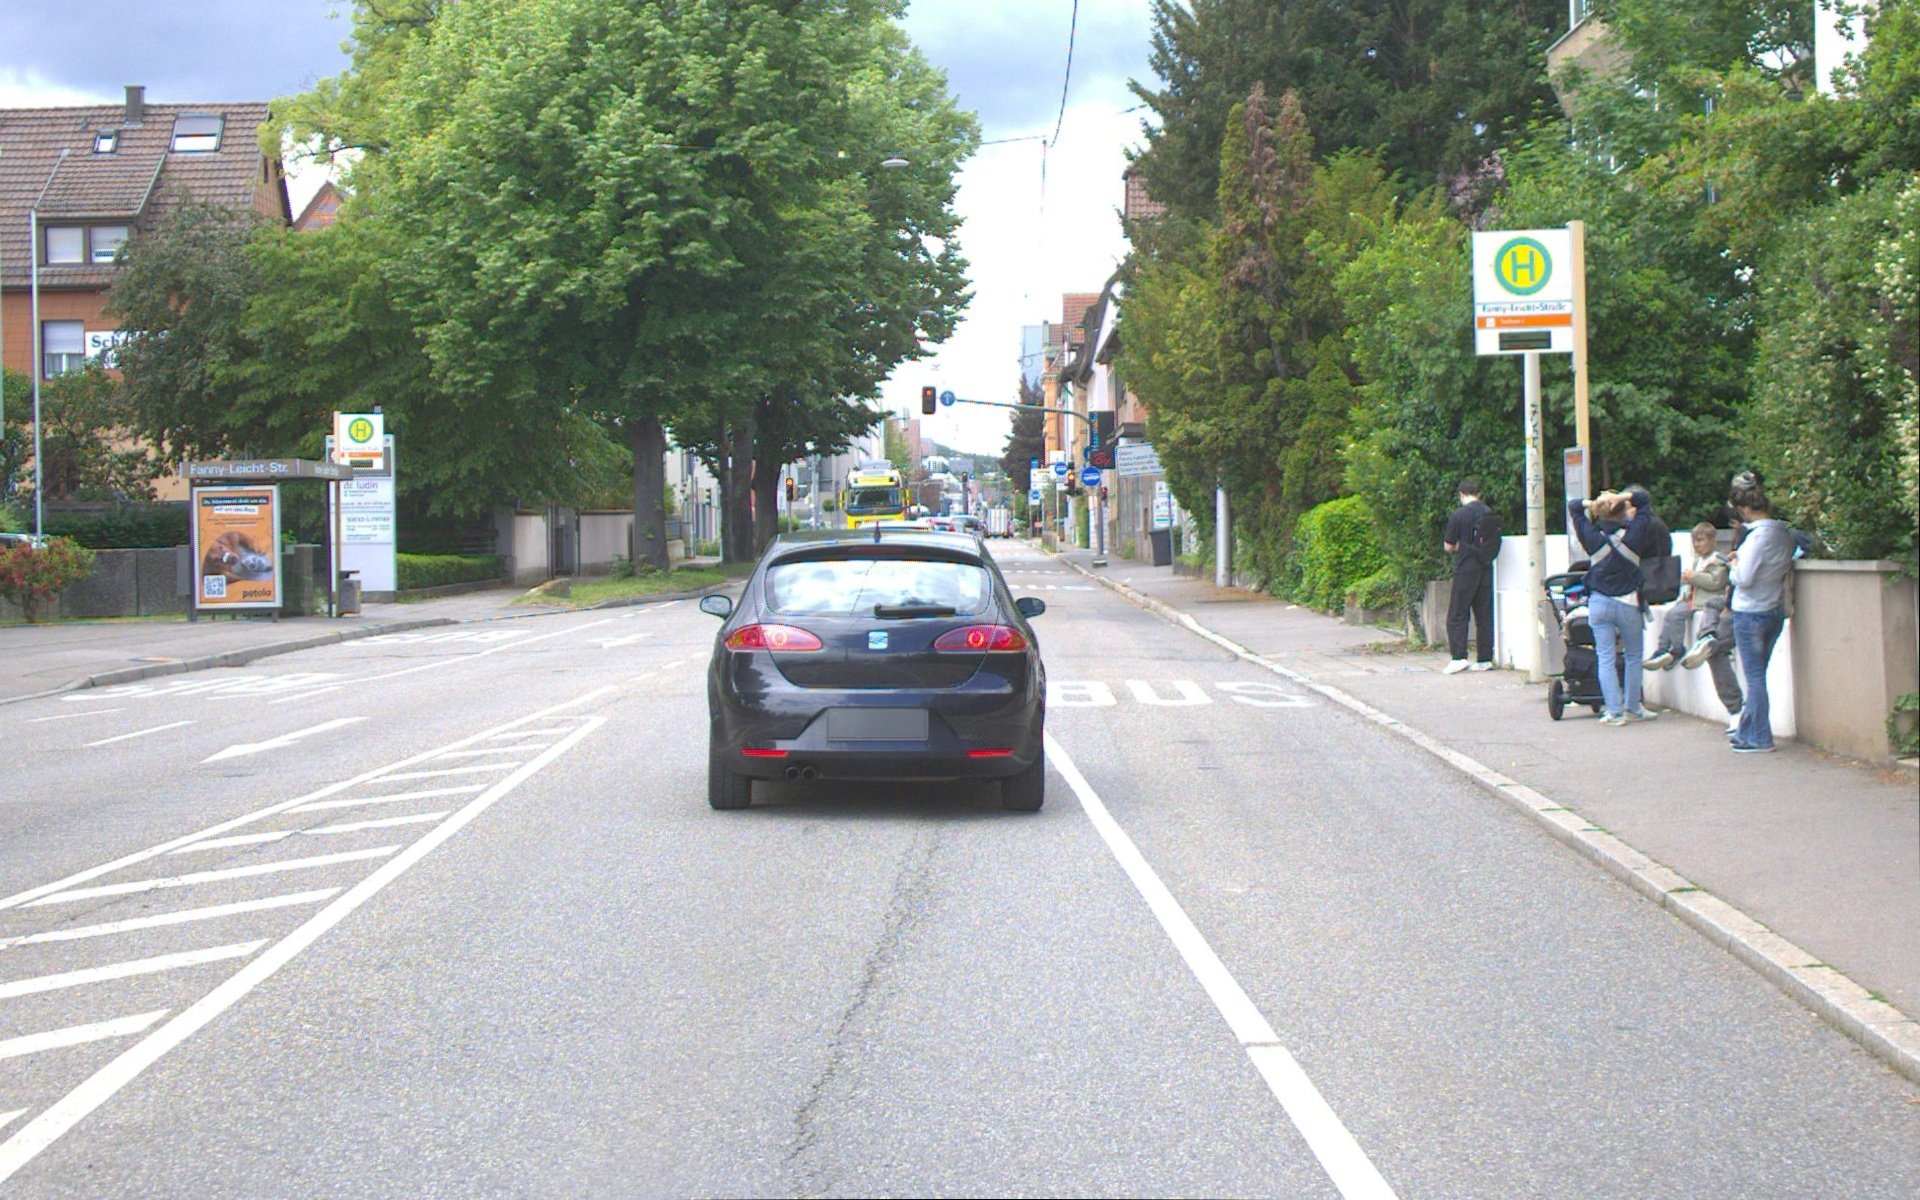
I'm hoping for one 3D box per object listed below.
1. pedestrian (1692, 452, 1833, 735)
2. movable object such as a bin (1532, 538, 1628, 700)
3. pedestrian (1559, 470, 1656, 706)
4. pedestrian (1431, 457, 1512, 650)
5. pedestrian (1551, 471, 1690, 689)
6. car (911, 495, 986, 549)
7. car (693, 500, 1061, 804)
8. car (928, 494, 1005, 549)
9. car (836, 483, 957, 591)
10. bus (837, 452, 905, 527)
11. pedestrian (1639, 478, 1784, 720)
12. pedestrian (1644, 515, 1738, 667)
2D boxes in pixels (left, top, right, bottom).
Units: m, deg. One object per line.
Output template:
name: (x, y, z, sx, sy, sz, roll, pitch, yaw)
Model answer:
pedestrian: (4.559, -0.043, 19.552, 0.543, 1.550, 0.471, -4, 2, -8)
movable object such as a bin: (4.247, 0.125, 23.537, 0.441, 1.054, 0.567, -3, 2, 26)
pedestrian: (4.252, -0.085, 22.592, 0.550, 1.512, 0.361, -3, 2, 9)
pedestrian: (4.609, -0.420, 30.996, 0.585, 1.706, 0.530, -2, 1, -1)
pedestrian: (4.679, -0.149, 24.385, 0.779, 1.495, 0.605, -2, 1, -5)
car: (-0.351, -2.497, 110.447, 1.994, 1.678, 3.999, -1, 1, 6)
car: (-0.518, 0.207, 18.648, 1.759, 1.444, 3.715, 2, 1, -3)
car: (0.169, -2.203, 95.795, 1.941, 1.476, 4.254, -1, 2, -2)
car: (-1.023, -1.070, 57.046, 1.819, 1.693, 4.253, -1, 2, 1)
bus: (-3.830, -4.774, 149.197, 2.868, 3.125, 6.398, -1, 2, -1)
pedestrian: (4.589, -0.007, 21.000, 0.620, 1.422, 0.512, -2, 3, 38)
pedestrian: (4.820, -0.063, 22.689, 0.454, 0.961, 0.383, -4, 2, -6)
